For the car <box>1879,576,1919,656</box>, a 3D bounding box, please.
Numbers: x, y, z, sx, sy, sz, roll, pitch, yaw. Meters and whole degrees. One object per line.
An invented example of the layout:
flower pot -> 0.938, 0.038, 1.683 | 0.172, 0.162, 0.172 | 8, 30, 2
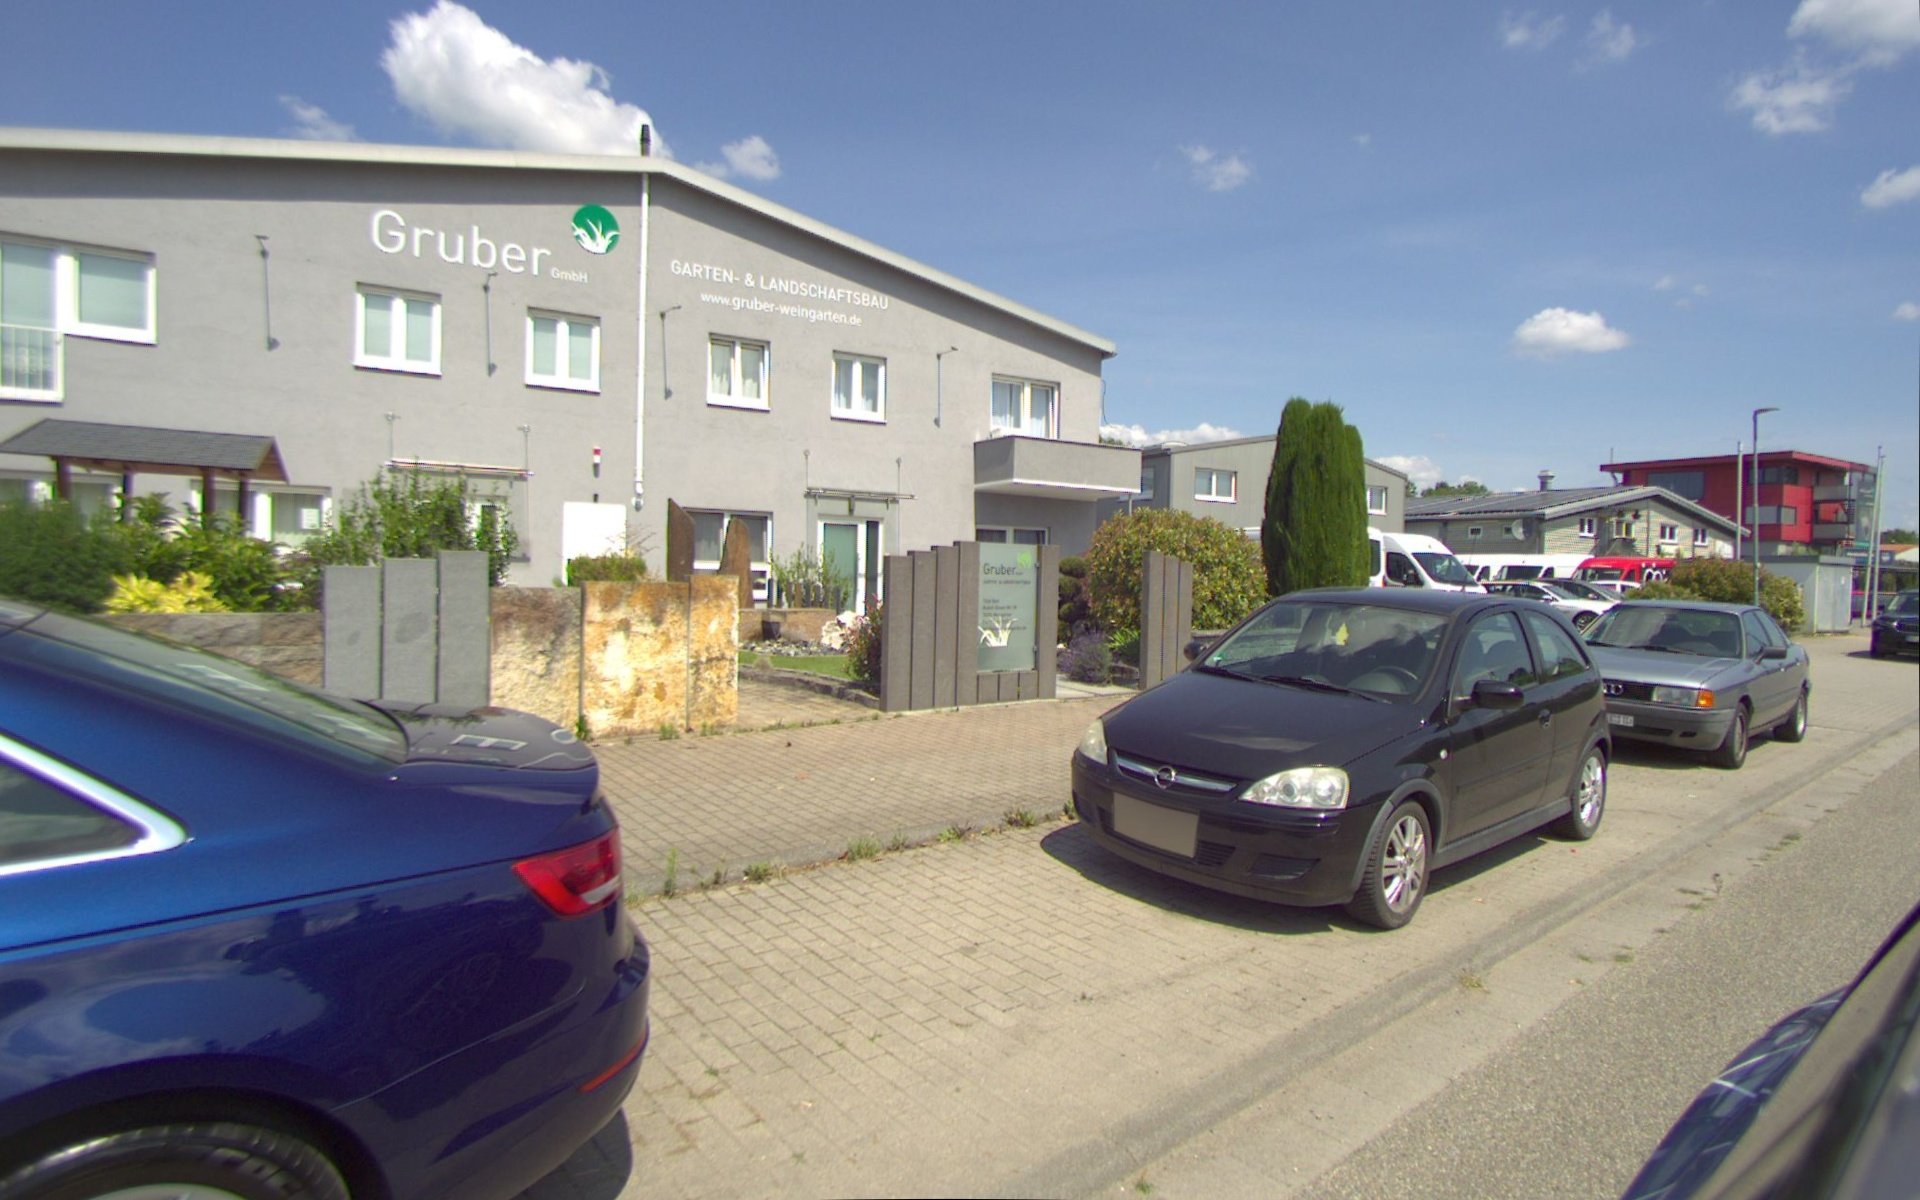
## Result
car -> 23.010, 0.386, 23.596 | 3.930, 1.722, 1.805 | 0, 4, -41

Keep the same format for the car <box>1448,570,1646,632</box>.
car -> 16.721, -0.025, 29.051 | 1.683, 1.505, 4.606 | 0, 3, -39

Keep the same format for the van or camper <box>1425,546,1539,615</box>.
van or camper -> 22.617, -0.836, 43.825 | 4.800, 2.802, 2.109 | 0, 2, -32

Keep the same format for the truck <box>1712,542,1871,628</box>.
truck -> 28.368, -0.518, 34.466 | 5.669, 2.721, 2.388 | 0, 2, -32

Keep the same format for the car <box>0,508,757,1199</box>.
car -> -2.744, 0.578, 1.188 | 4.635, 1.490, 1.766 | 0, 3, -41

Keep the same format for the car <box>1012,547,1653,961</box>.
car -> 2.239, 0.531, 5.564 | 3.808, 1.490, 1.618 | 0, 3, -41

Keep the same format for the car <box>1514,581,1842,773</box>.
car -> 7.134, 0.588, 9.895 | 4.122, 1.441, 1.618 | 0, 3, -41

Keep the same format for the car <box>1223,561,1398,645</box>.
car -> 6.196, 0.012, 18.049 | 1.149, 1.327, 2.709 | 0, 3, -40

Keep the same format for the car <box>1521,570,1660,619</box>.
car -> 21.814, -0.234, 35.108 | 1.683, 1.505, 3.703 | 0, 3, -39

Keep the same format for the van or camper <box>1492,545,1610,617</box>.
van or camper -> 24.311, -0.778, 41.606 | 4.800, 2.802, 2.101 | 0, 2, -32

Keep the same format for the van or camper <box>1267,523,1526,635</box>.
van or camper -> 10.700, -0.587, 25.427 | 2.091, 2.467, 5.851 | 1, 2, -29

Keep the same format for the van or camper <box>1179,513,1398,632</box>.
van or camper -> 7.772, -0.700, 24.545 | 1.959, 2.565, 5.118 | 1, 2, -26

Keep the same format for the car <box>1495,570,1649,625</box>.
car -> 18.790, -0.119, 31.185 | 1.683, 1.505, 3.703 | 0, 3, -39

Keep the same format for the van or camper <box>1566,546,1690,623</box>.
van or camper -> 25.599, -0.599, 38.736 | 4.800, 2.802, 2.043 | 0, 2, -32

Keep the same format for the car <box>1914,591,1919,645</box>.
car -> 27.245, 0.543, 27.280 | 3.690, 1.436, 1.805 | 1, 3, -41
